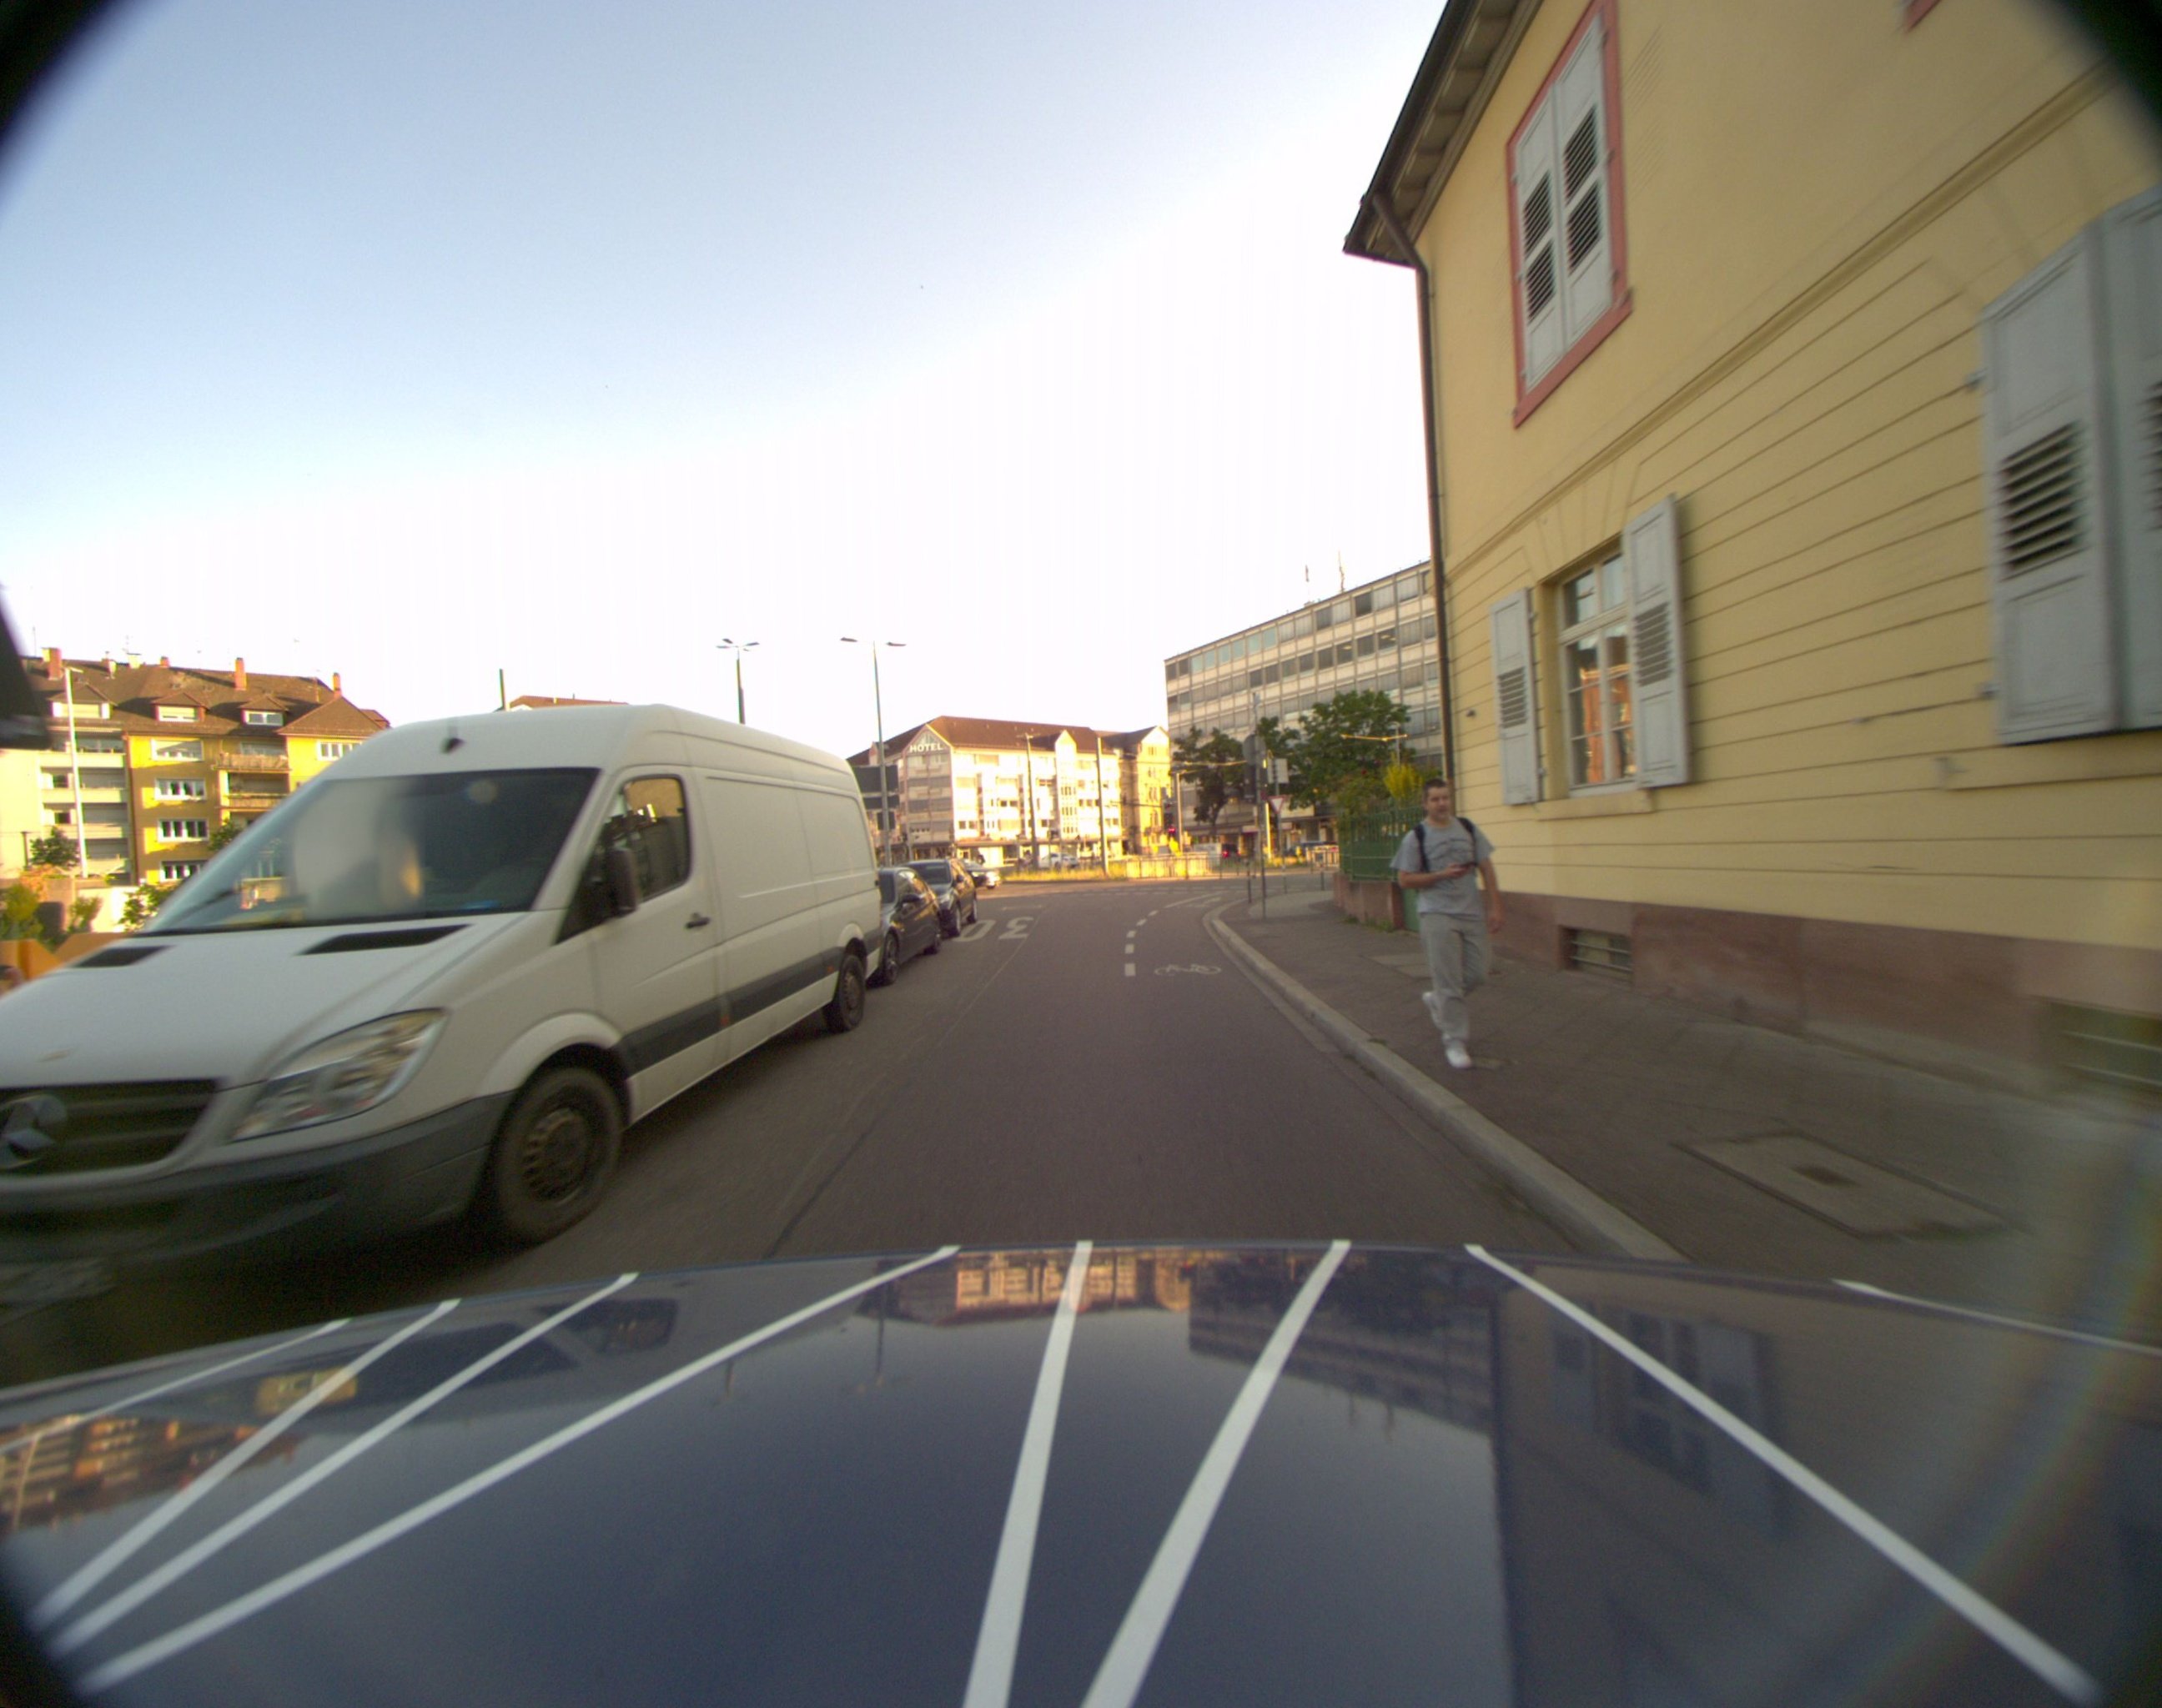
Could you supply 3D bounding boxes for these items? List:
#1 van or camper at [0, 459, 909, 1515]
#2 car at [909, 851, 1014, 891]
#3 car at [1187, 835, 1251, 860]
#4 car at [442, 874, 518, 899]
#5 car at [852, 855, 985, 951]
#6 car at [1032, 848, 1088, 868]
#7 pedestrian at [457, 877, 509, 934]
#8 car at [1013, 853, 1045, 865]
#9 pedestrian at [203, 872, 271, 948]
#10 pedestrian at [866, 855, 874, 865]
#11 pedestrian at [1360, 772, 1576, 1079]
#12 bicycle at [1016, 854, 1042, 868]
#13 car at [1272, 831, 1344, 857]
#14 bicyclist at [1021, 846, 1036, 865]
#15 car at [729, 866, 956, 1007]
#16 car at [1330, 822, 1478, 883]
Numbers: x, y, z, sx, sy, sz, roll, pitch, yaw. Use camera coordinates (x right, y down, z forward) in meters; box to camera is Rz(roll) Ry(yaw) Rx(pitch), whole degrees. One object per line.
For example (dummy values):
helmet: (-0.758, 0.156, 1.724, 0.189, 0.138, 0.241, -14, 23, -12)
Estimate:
van or camper: (-3.162, 0.359, 5.242, 2.082, 2.759, 6.449, -3, 1, 2)
car: (-5.280, 0.752, 33.355, 4.380, 1.608, 1.948, -2, 1, 36)
car: (9.845, -0.442, 54.495, 2.003, 1.565, 4.292, -4, 1, -34)
car: (-52.858, 2.841, 66.954, 4.882, 1.827, 1.996, -3, 0, -31)
car: (-3.124, 0.864, 15.512, 1.783, 1.534, 4.289, -3, 1, -1)
car: (-1.823, 0.335, 64.762, 4.647, 1.433, 2.043, 0, 5, 44)
pedestrian: (-19.047, 1.636, 24.219, 0.942, 1.725, 0.822, -2, 1, 11)
car: (-6.902, 0.689, 100.579, 3.903, 1.414, 1.645, -3, 1, -39)
pedestrian: (-19.356, 1.257, 17.447, 0.824, 1.655, 0.762, -2, 0, -32)
pedestrian: (-33.473, 0.926, 120.544, 0.709, 1.540, 0.904, -4, 2, -38)
pedestrian: (2.352, 0.411, 4.739, 0.878, 1.714, 0.829, -3, 1, 5)
bicycle: (-3.842, 0.496, 56.229, 0.722, 0.925, 1.958, -2, 1, 42)
car: (14.306, -0.597, 48.163, 1.739, 1.427, 4.362, -4, 1, -29)
bicyclist: (-3.883, 0.133, 56.203, 0.714, 1.361, 0.685, -2, 2, 42)
car: (-3.114, 0.989, 10.993, 1.733, 1.421, 4.473, -3, 1, 1)
car: (9.631, -0.031, 22.772, 3.717, 1.552, 1.683, -3, 3, 38)
